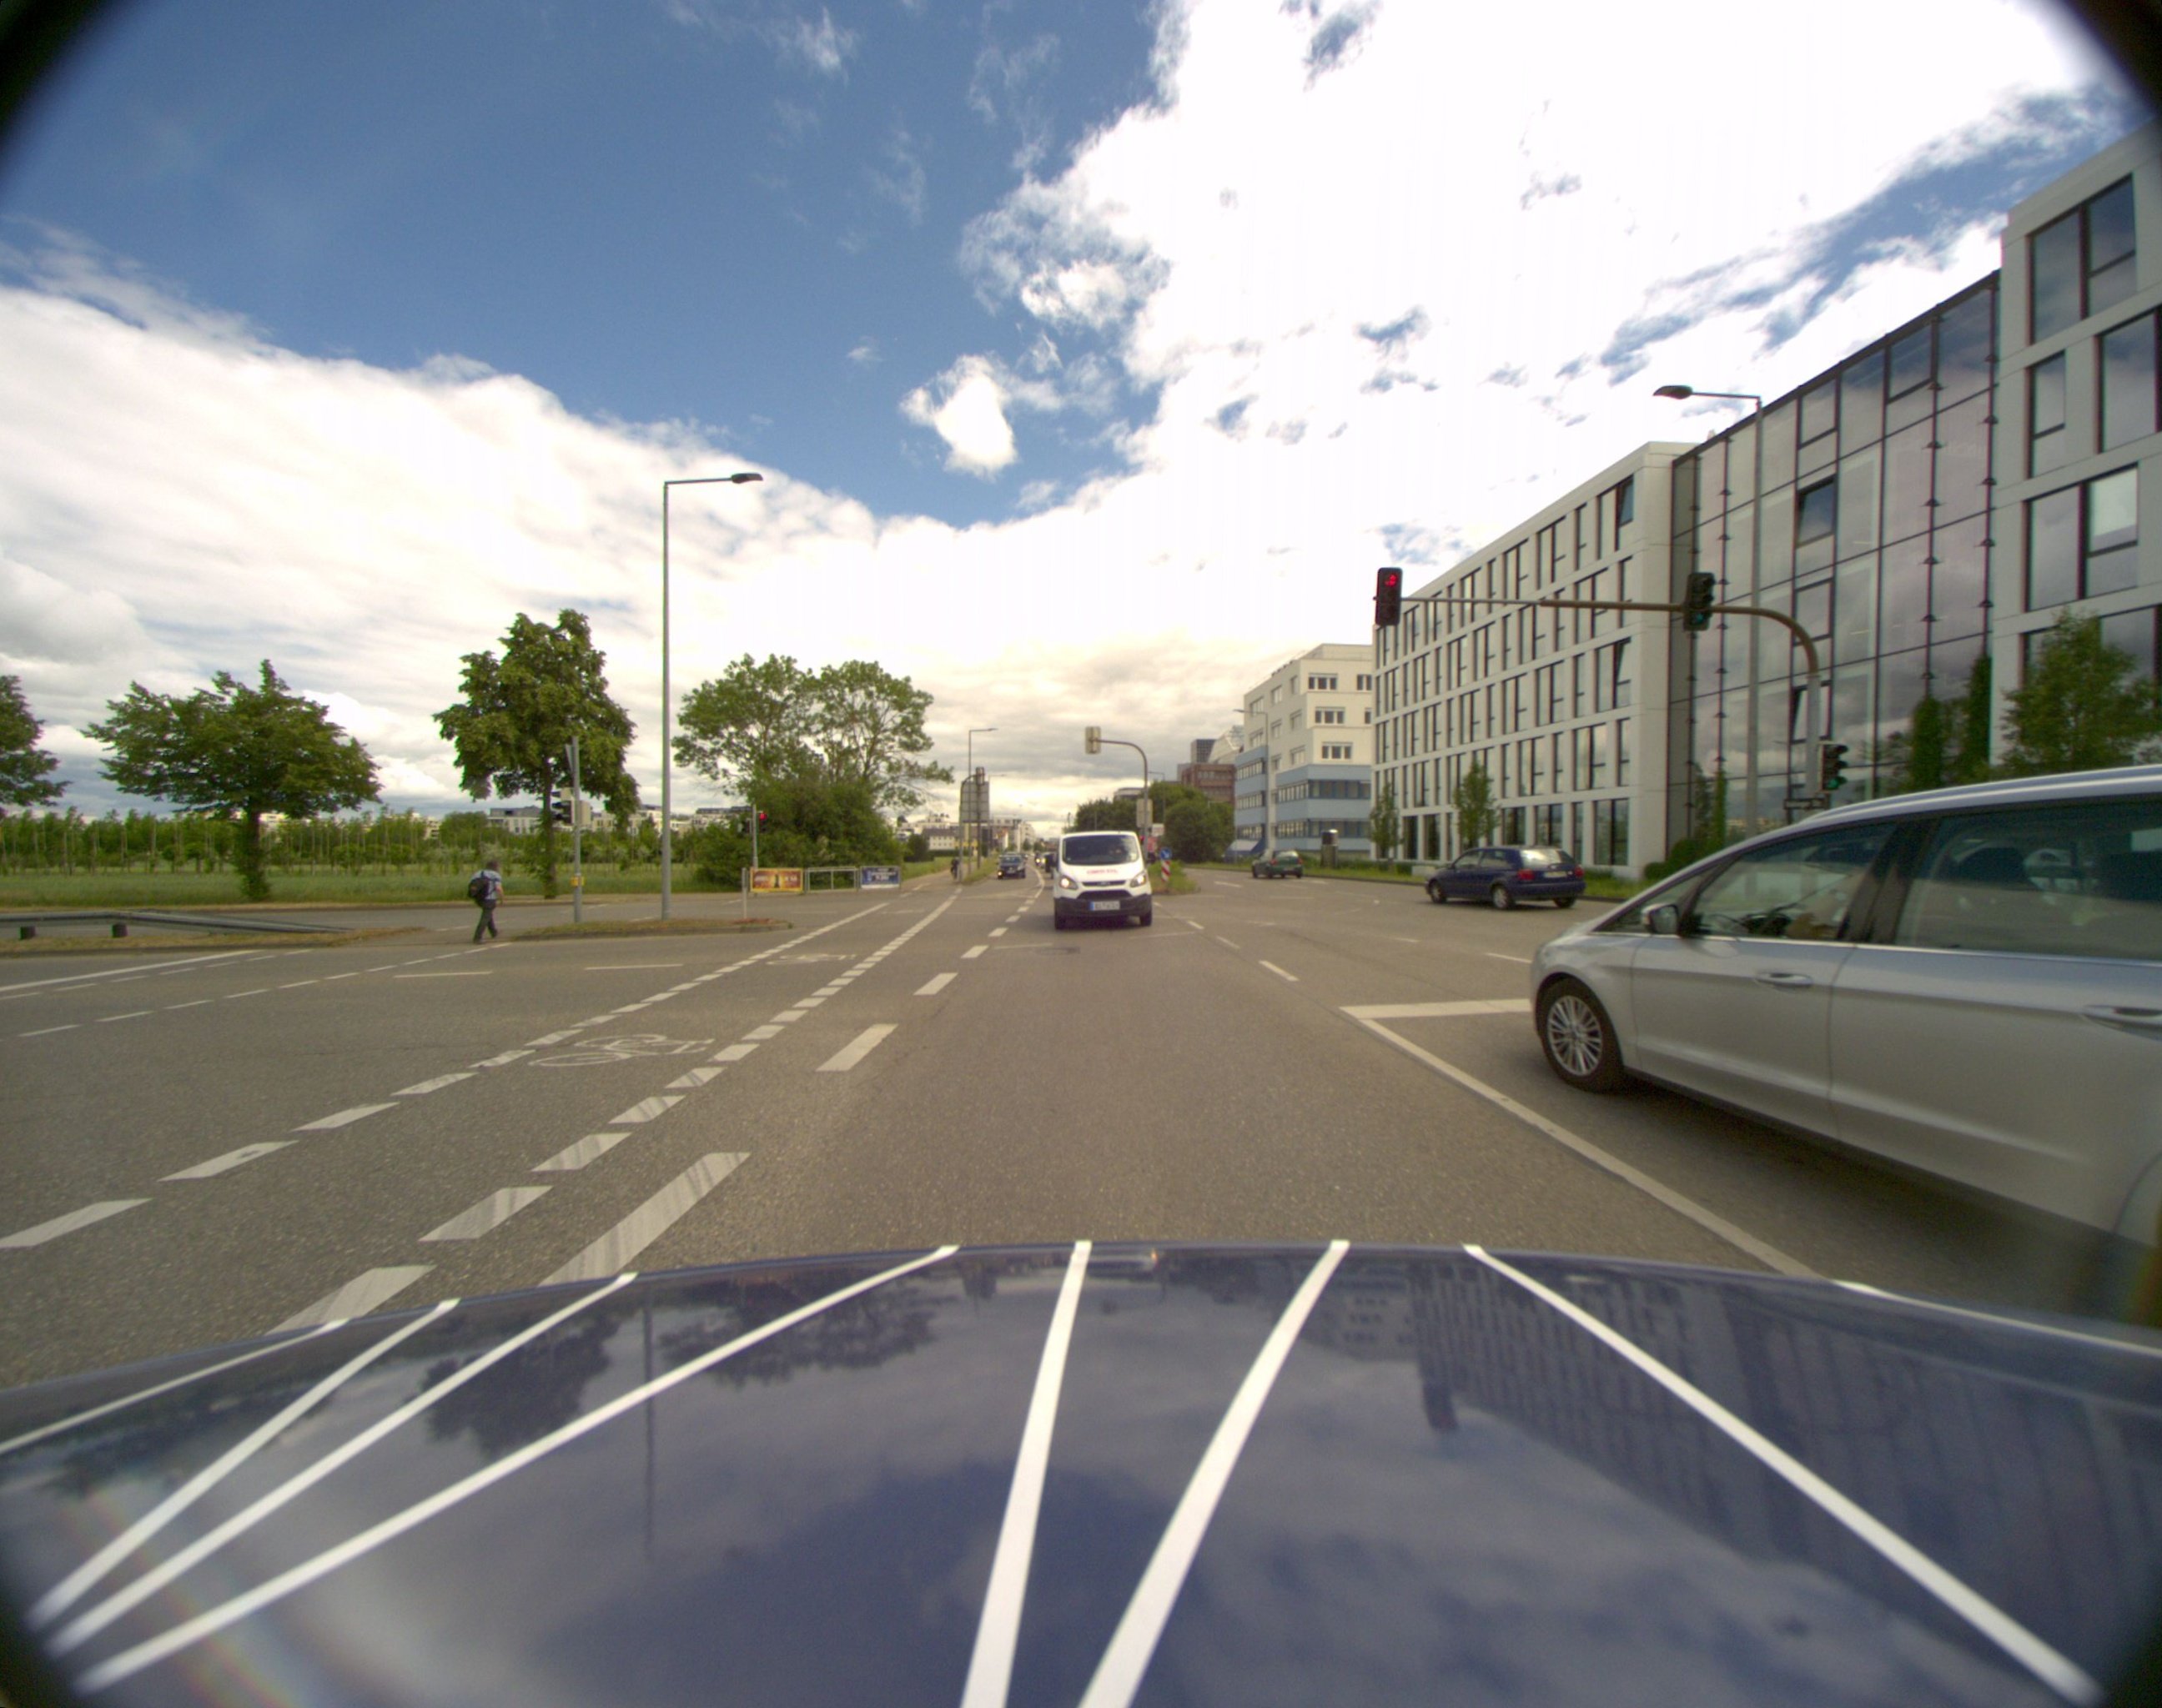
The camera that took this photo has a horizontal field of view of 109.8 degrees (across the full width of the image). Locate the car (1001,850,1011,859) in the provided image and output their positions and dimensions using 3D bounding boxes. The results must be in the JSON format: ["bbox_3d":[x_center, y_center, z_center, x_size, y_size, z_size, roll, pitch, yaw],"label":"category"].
[{"bbox_3d":[-15.651,0.115,158.279,1.873,1.685,4.368,-2,0,-7],"label":"car"}]

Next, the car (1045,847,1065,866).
[{"bbox_3d":[-2.502,0.203,73.599,1.872,1.685,4.370,-2,0,-1],"label":"car"}]

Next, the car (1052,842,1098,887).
[{"bbox_3d":[-0.283,0.418,33.746,1.872,1.836,4.370,-2,1,-1],"label":"car"}]

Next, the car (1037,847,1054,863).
[{"bbox_3d":[-3.958,0.116,84.485,1.873,1.685,4.370,-2,0,-3],"label":"car"}]

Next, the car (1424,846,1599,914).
[{"bbox_3d":[9.790,0.530,17.622,1.749,1.347,3.638,-2,0,-5],"label":"car"}]

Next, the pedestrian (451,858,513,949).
[{"bbox_3d":[-12.769,1.029,16.194,0.798,1.872,0.767,-1,1,35],"label":"pedestrian"}]

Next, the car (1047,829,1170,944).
[{"bbox_3d":[0.419,0.542,16.446,2.122,1.963,6.205,-2,0,-1],"label":"car"}]

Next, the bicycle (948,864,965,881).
[{"bbox_3d":[-8.848,1.310,54.225,1.017,1.128,2.674,0,1,-6],"label":"bicycle"}]

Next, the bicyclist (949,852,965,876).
[{"bbox_3d":[-8.887,0.720,54.475,1.017,1.698,1.200,0,1,-6],"label":"bicyclist"}]

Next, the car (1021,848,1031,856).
[{"bbox_3d":[-11.251,-0.398,154.800,1.873,1.685,4.369,-2,0,-4],"label":"car"}]

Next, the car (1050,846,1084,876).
[{"bbox_3d":[-0.854,0.377,45.887,1.872,1.685,4.370,-2,0,-1],"label":"car"}]

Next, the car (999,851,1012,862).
[{"bbox_3d":[-10.663,0.305,107.731,1.736,1.432,4.366,-2,0,-4],"label":"car"}]

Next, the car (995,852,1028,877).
[{"bbox_3d":[-4.265,0.626,47.294,1.736,1.432,4.367,-2,0,-1],"label":"car"}]

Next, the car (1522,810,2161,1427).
[{"bbox_3d":[3.853,0.695,2.760,1.872,1.685,4.370,-2,0,-1],"label":"car"}]

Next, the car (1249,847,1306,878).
[{"bbox_3d":[9.576,0.375,37.327,1.609,1.384,3.638,-2,0,-4],"label":"car"}]
